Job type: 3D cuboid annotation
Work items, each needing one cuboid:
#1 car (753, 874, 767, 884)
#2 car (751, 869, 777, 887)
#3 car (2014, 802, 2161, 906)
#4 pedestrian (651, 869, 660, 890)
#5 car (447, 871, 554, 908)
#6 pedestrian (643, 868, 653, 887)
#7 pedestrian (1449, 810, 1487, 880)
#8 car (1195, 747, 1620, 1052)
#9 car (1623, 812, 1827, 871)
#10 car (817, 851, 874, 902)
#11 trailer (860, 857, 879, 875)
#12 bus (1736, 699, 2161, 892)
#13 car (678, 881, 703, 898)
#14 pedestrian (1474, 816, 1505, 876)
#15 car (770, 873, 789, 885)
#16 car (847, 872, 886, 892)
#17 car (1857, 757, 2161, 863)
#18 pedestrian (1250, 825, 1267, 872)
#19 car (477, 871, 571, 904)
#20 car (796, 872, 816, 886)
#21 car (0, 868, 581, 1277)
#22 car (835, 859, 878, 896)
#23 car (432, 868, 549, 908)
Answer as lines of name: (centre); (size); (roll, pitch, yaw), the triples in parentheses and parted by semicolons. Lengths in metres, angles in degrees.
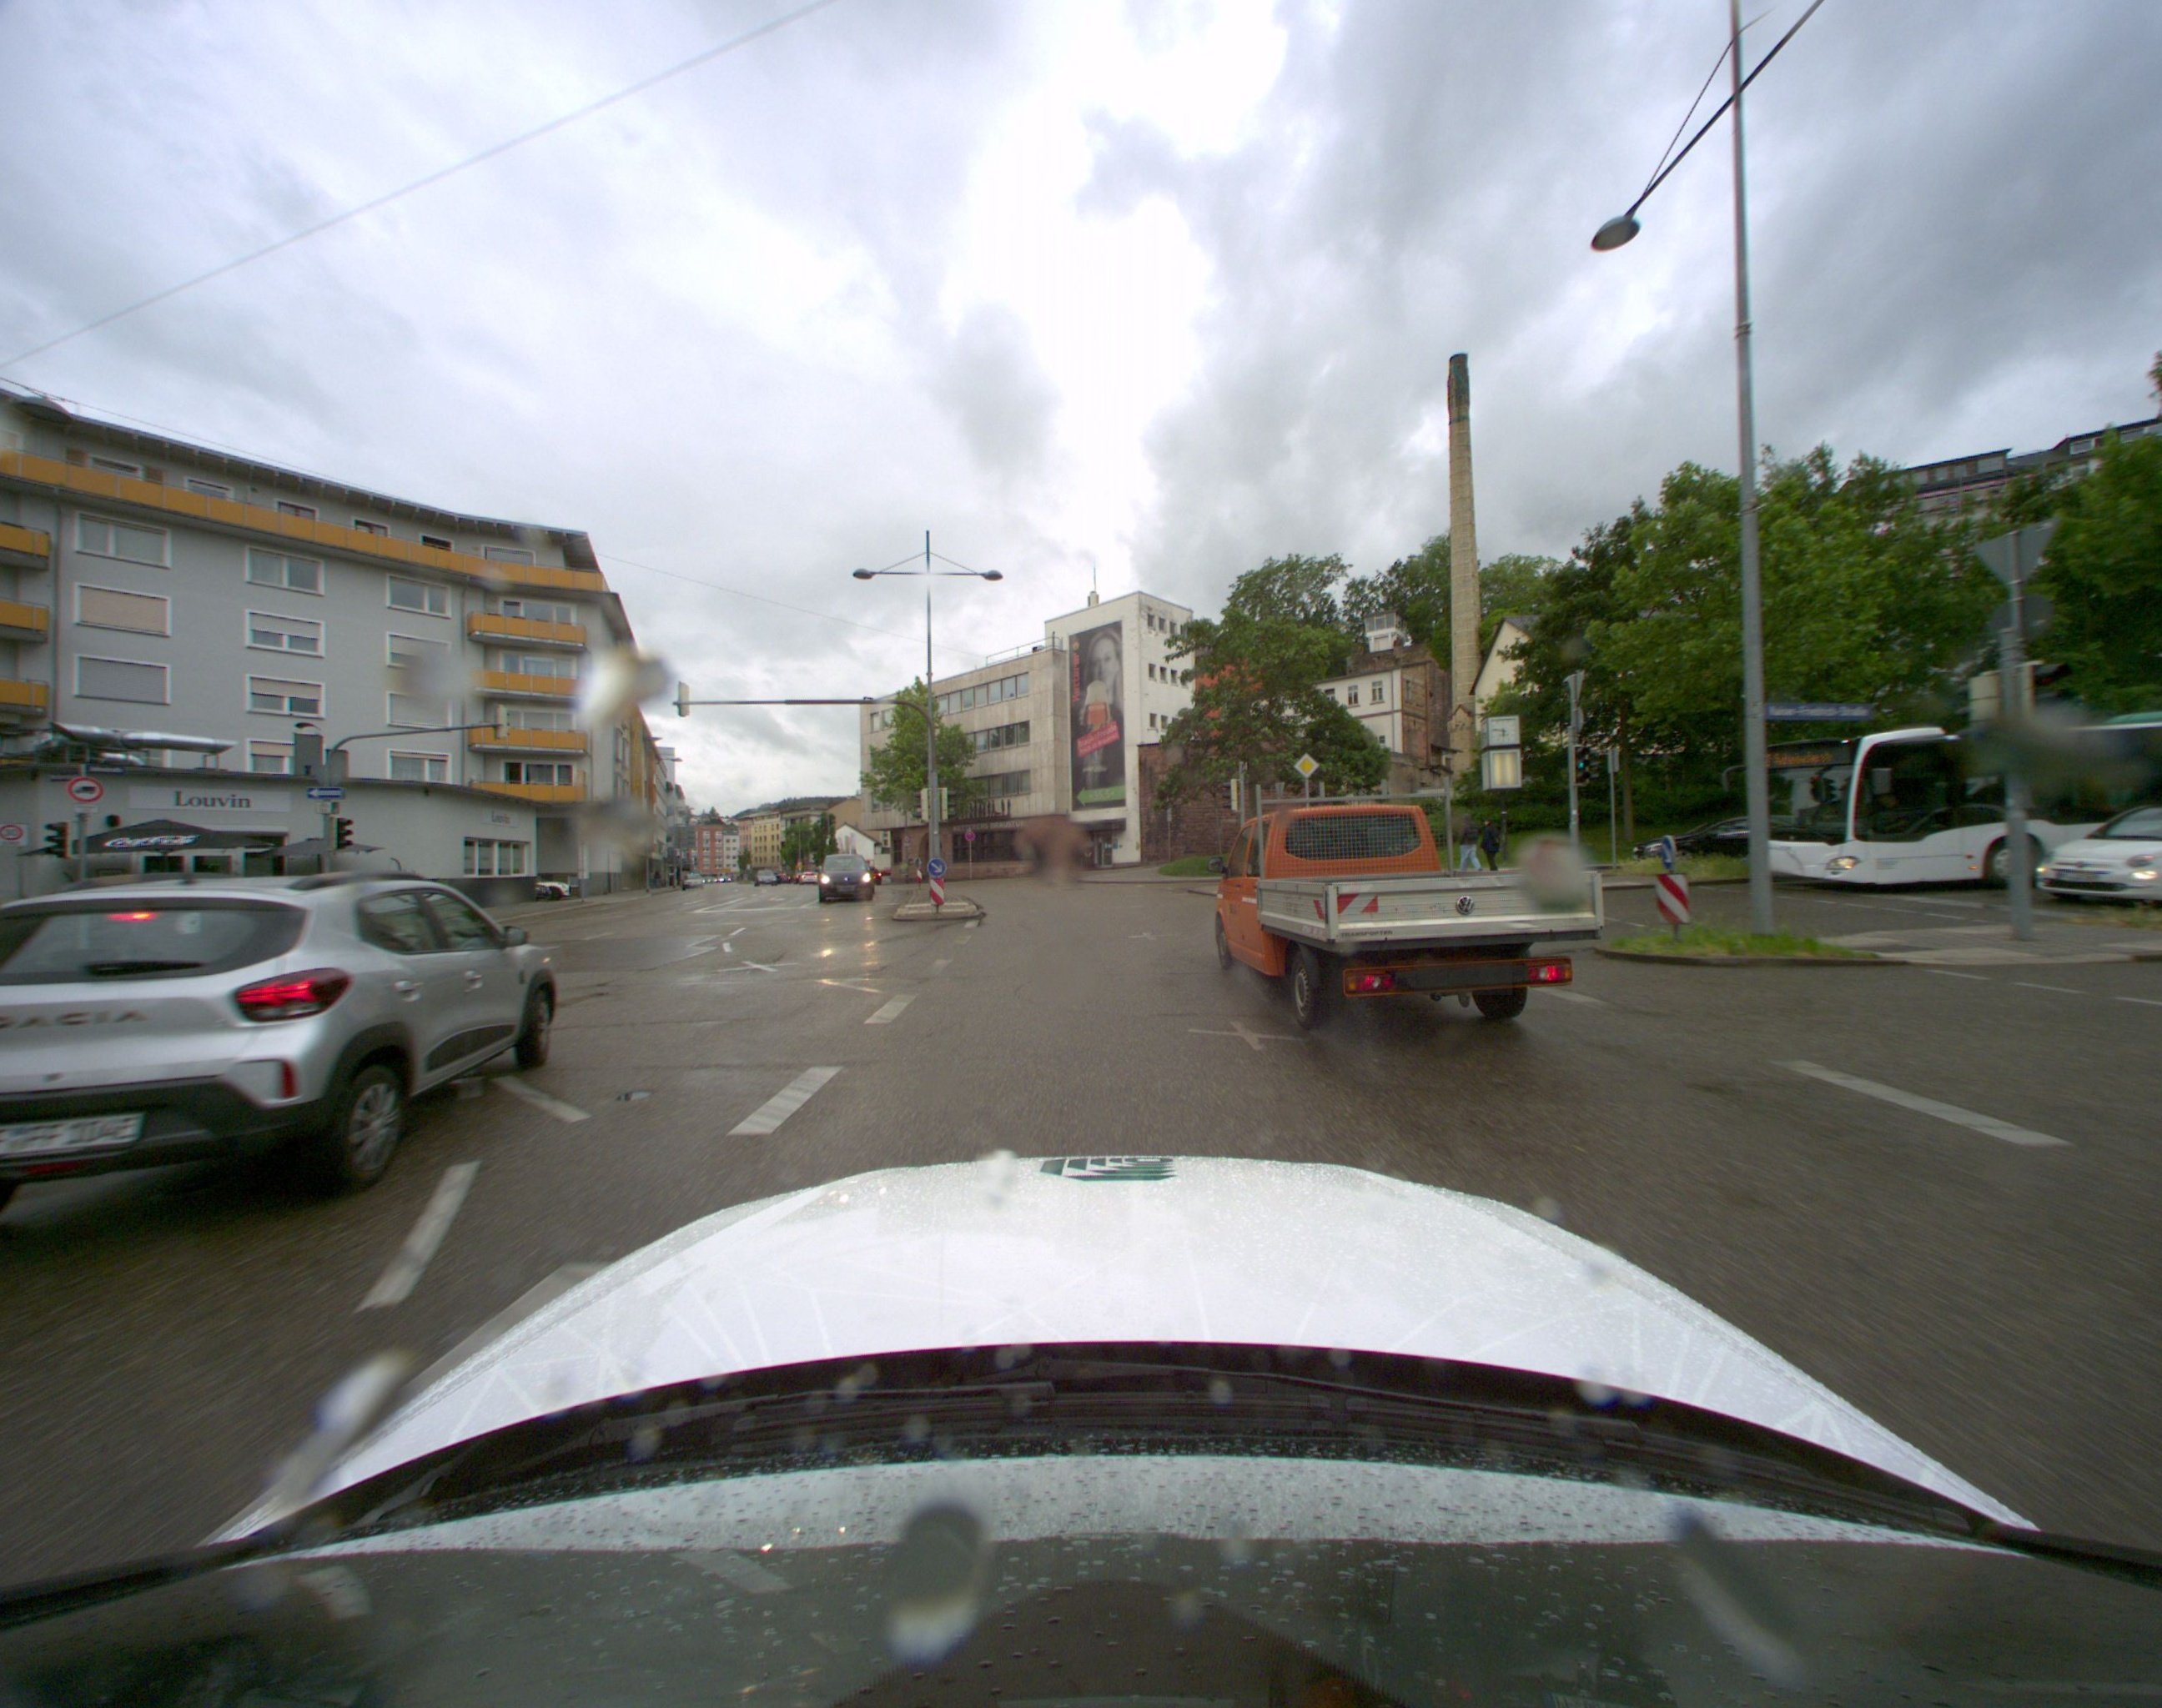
car: (-53.584, 4.174, 135.730); (1.961, 1.396, 3.836); (-1, 1, -24)
car: (-28.424, 2.170, 72.927); (1.742, 1.440, 4.373); (-2, -1, -27)
car: (16.649, -0.061, 12.159); (3.543, 1.451, 1.591); (-1, 1, 2)
pedestrian: (-38.234, 2.288, 73.167); (0.577, 1.789, 0.820); (4, -4, -24)
car: (-27.172, 1.627, 38.263); (3.775, 1.420, 1.625); (-4, 0, -24)
pedestrian: (-38.845, 2.149, 73.020); (0.633, 1.676, 0.900); (4, -4, -25)
pedestrian: (11.283, -0.261, 23.732); (0.777, 2.013, 0.592); (-3, 1, 40)
car: (2.639, 0.357, 8.375); (2.095, 2.089, 5.539); (0, -1, -1)
car: (17.644, -0.312, 22.563); (4.048, 1.374, 1.805); (-3, -1, 22)
car: (-8.433, 0.747, 28.954); (1.760, 1.614, 4.185); (-2, 0, -18)
trailer: (-34.574, 2.020, 133.106); (2.136, 2.716, 5.351); (-3, 0, -22)
bus: (18.463, -1.085, 15.465); (9.584, 3.216, 2.708); (-1, 1, 4)
car: (-34.504, 3.168, 71.981); (1.736, 1.366, 4.078); (-1, -2, -23)
pedestrian: (11.958, -0.244, 23.836); (0.555, 1.705, 0.527); (-3, 1, -6)
car: (-38.787, 3.160, 104.813); (1.675, 1.396, 3.831); (-1, 1, -29)
car: (-16.304, 2.095, 61.651); (1.800, 1.403, 4.591); (-2, 0, -28)
car: (23.946, -1.053, 20.254); (6.267, 2.234, 2.267); (-3, -1, 21)
pedestrian: (6.802, -0.198, 31.186); (0.593, 1.781, 0.659); (0, -2, 14)
car: (-27.755, 1.663, 40.699); (3.643, 1.338, 1.482); (-4, 0, -27)
car: (-31.107, 2.824, 92.080); (1.673, 1.396, 3.835); (-2, 0, -25)
car: (-4.393, 0.845, 4.785); (1.540, 1.461, 3.609); (-1, 0, -16)
car: (-9.544, 0.949, 34.473); (1.560, 1.397, 3.705); (-4, 1, -17)
car: (-26.073, 1.509, 36.124); (3.831, 1.421, 1.783); (-4, -1, -24)
